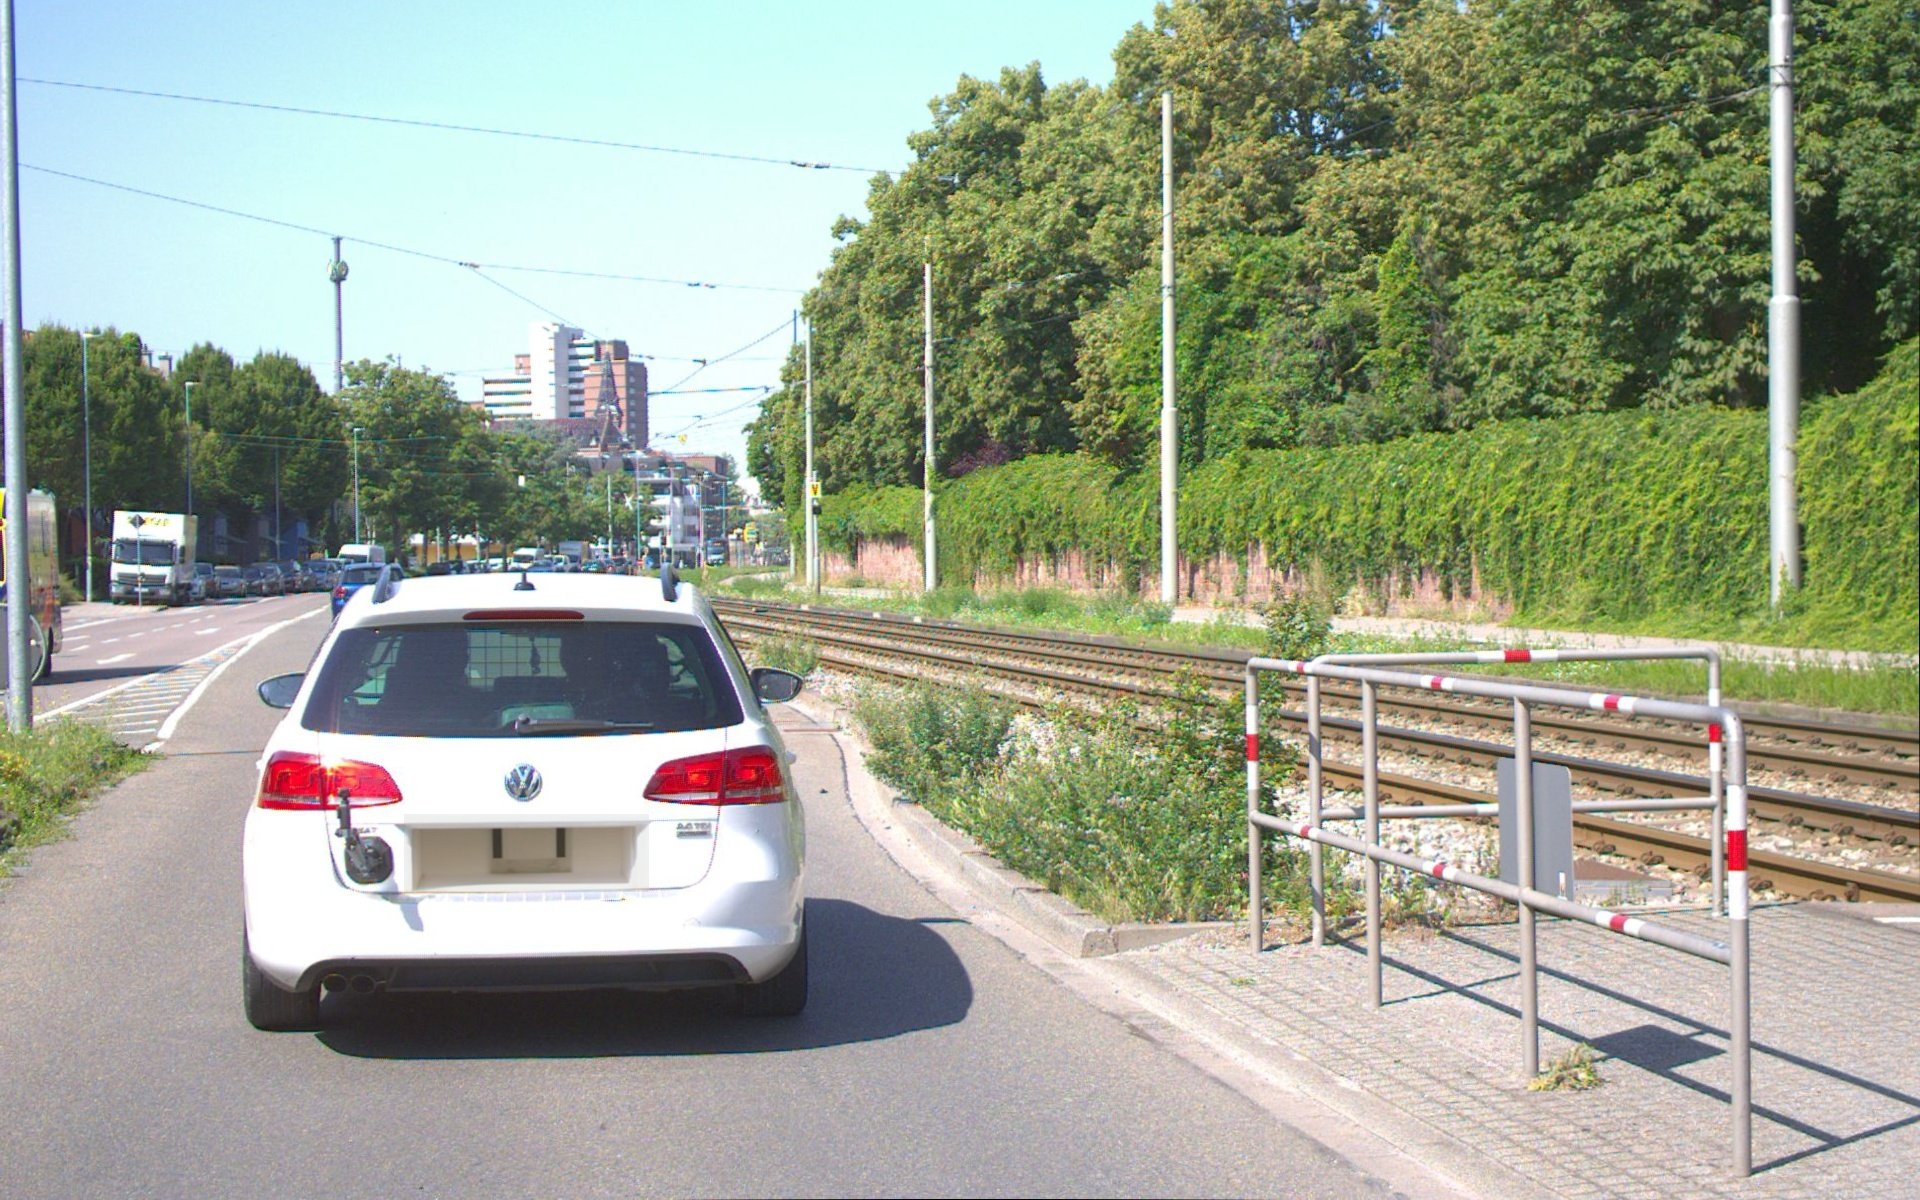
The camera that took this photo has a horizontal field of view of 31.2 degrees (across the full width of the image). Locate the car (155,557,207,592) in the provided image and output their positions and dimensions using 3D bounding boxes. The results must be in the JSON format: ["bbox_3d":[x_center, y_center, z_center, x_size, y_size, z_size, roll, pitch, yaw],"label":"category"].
[{"bbox_3d":[-32.222,-1.049,142.301,1.757,1.424,4.282,0,1,-8],"label":"car"}]

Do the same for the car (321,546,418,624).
[{"bbox_3d":[-12.152,-0.330,70.931,1.800,1.502,4.001,0,2,-7],"label":"car"}]

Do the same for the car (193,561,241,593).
[{"bbox_3d":[-34.695,-1.056,160.688,1.780,1.478,4.858,0,0,-7],"label":"car"}]

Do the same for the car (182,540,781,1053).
[{"bbox_3d":[-1.680,0.531,12.015,1.691,1.446,4.459,0,1,-8],"label":"car"}]

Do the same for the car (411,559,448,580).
[{"bbox_3d":[-36.101,-2.092,233.885,1.700,1.412,4.000,-1,0,3],"label":"car"}]

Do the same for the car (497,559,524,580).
[{"bbox_3d":[-32.911,-2.240,251.822,1.658,1.415,4.310,-3,1,-4],"label":"car"}]

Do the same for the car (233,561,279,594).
[{"bbox_3d":[-35.472,-1.141,173.334,1.716,1.619,4.313,0,1,-4],"label":"car"}]

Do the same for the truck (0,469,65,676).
[{"bbox_3d":[-13.957,-0.379,47.255,2.330,2.659,7.361,-2,1,-8],"label":"truck"}]

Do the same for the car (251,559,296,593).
[{"bbox_3d":[-35.705,-1.242,178.873,1.769,1.717,4.871,1,0,-5],"label":"car"}]

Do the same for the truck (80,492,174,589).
[{"bbox_3d":[-31.465,-2.239,130.120,2.666,3.518,8.592,1,1,-8],"label":"truck"}]
